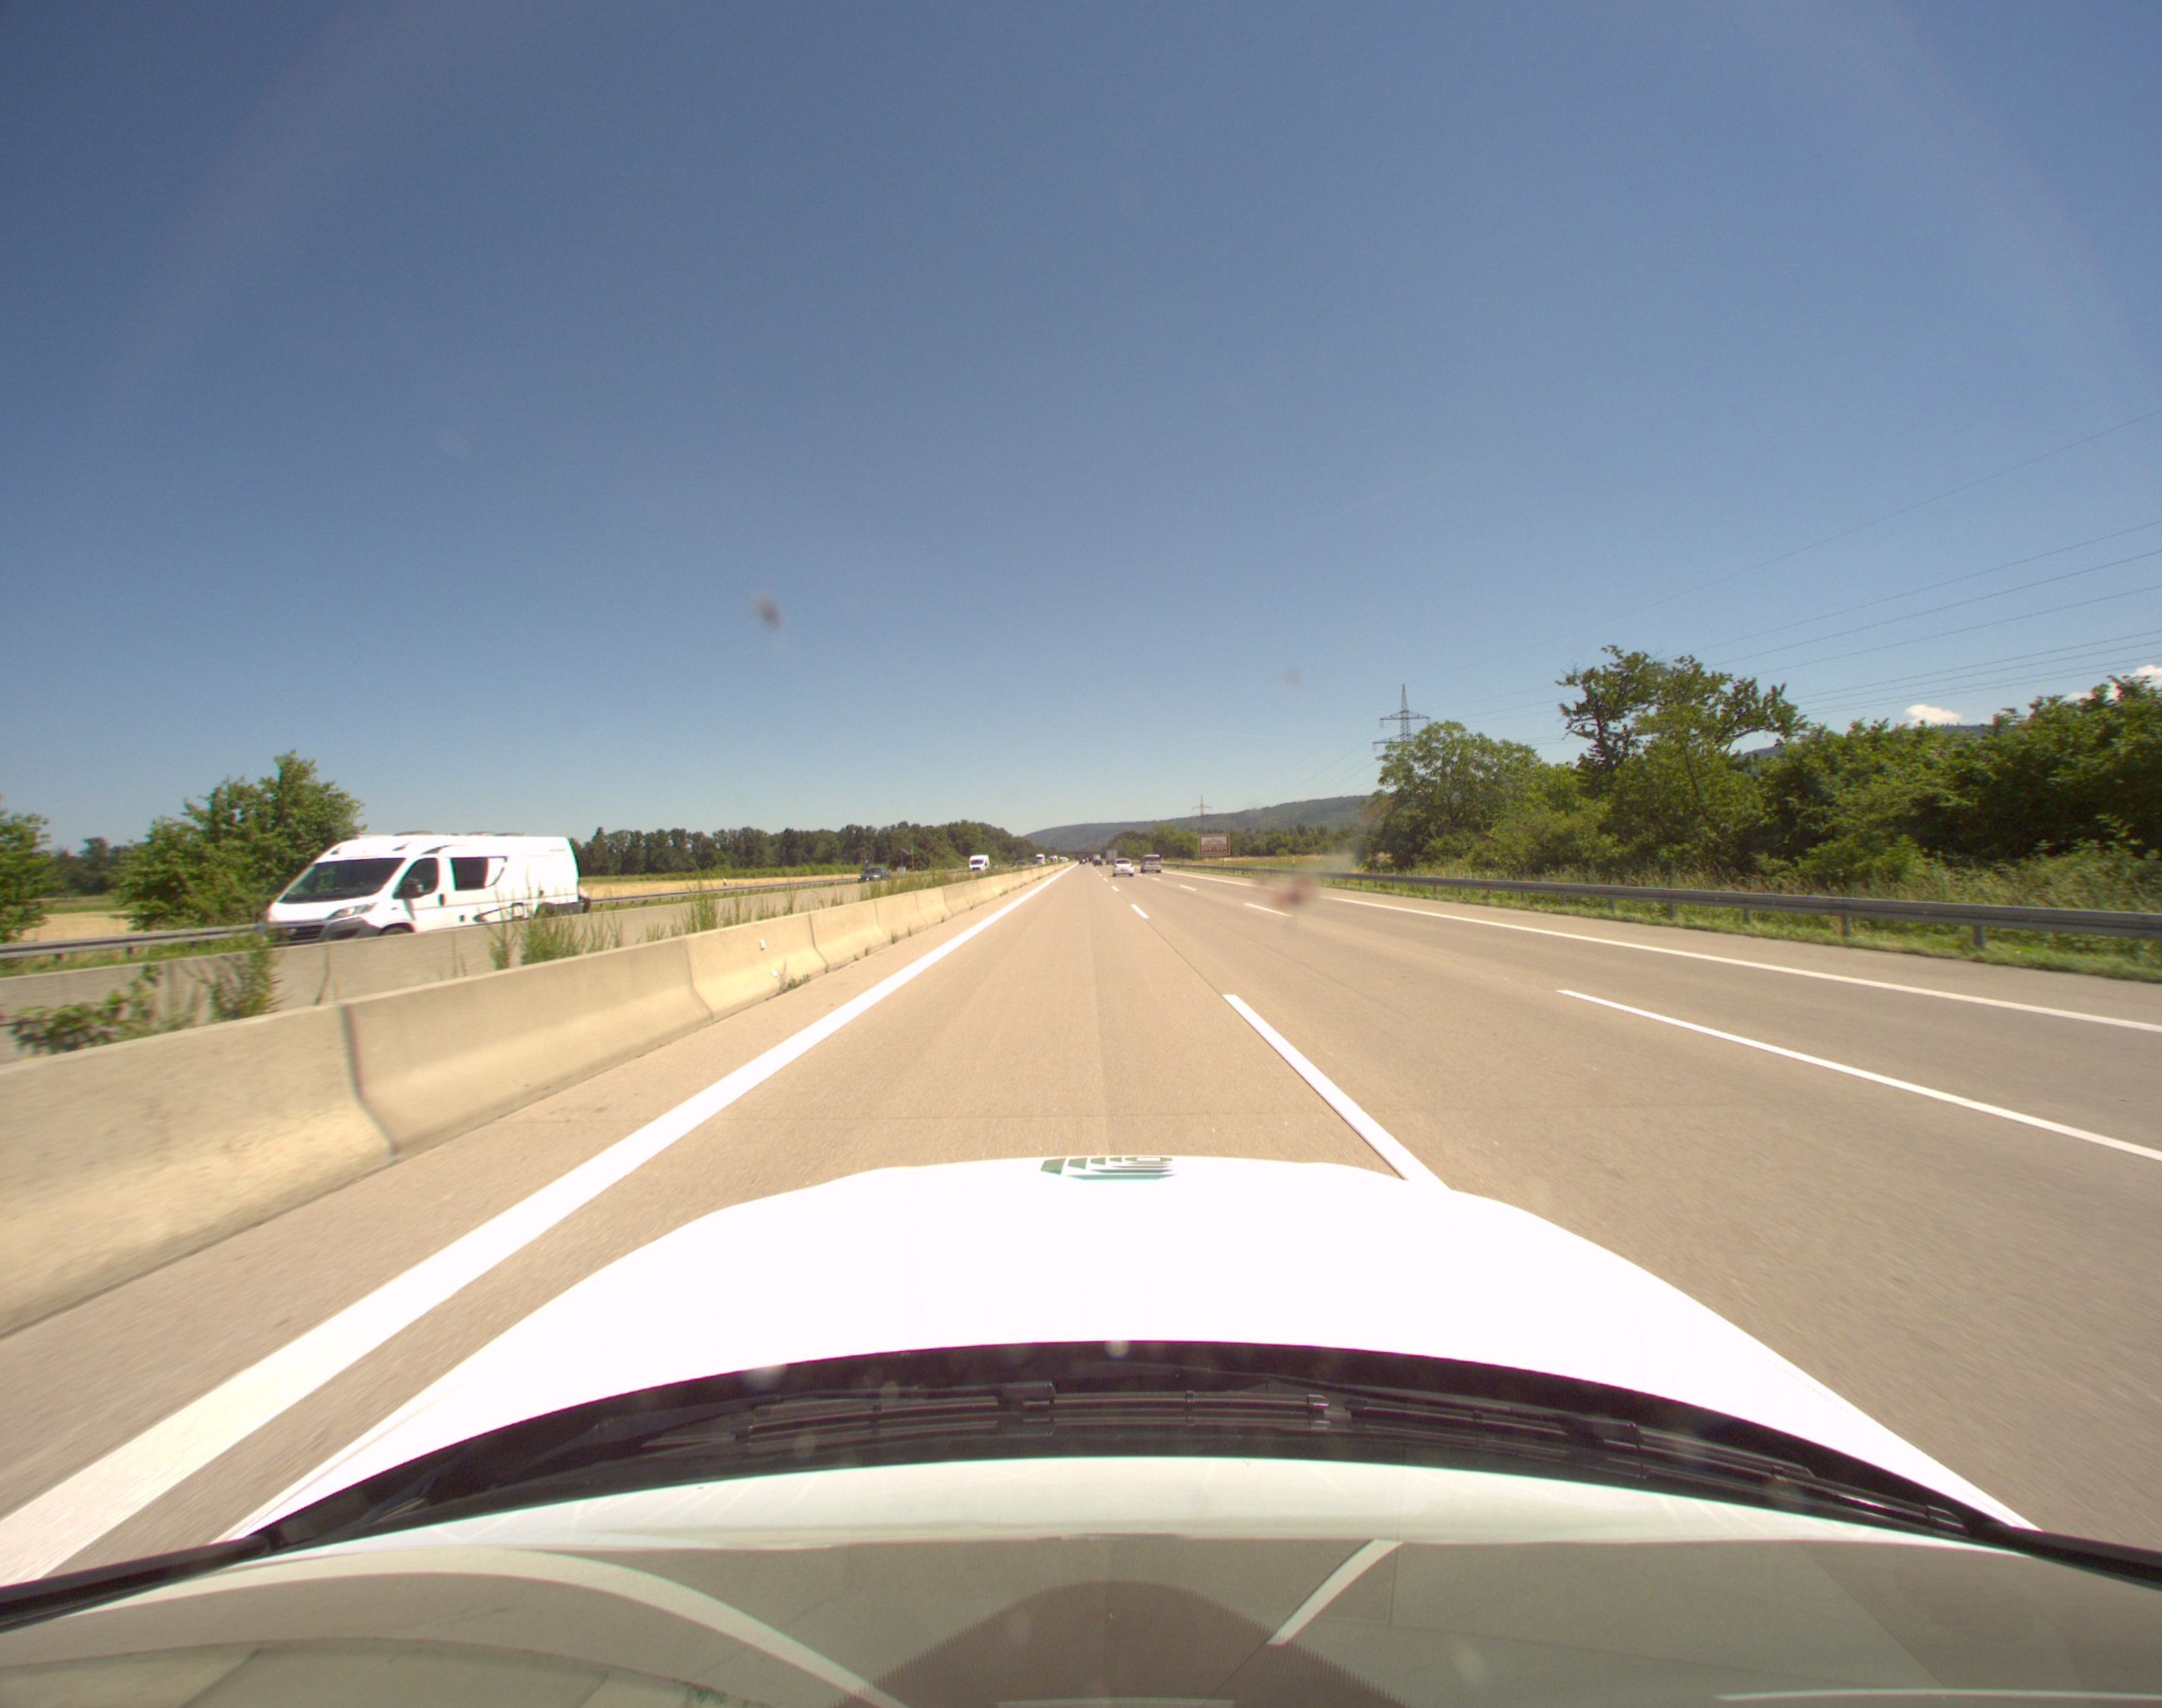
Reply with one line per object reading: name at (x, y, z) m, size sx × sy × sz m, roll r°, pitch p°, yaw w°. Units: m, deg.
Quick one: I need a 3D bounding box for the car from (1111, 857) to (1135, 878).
car at (3.575, 1.149, 70.251) m, size 1.814 × 1.662 × 3.999 m, roll -1°, pitch 0°, yaw 0°

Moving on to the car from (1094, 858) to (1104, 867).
car at (3.896, 1.855, 174.919) m, size 1.988 × 1.849 × 3.998 m, roll 2°, pitch 0°, yaw -1°

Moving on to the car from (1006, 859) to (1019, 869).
car at (-13.467, 1.992, 159.412) m, size 1.986 × 1.915 × 4.403 m, roll 0°, pitch 0°, yaw 2°

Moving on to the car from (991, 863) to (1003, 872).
car at (-16.539, 2.624, 160.317) m, size 1.989 × 1.783 × 3.995 m, roll 0°, pitch 0°, yaw -3°

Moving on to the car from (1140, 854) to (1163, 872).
car at (7.428, 0.953, 86.048) m, size 1.987 × 1.849 × 3.999 m, roll 0°, pitch 0°, yaw 0°

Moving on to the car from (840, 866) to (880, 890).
car at (-16.799, 1.788, 62.036) m, size 1.748 × 1.684 × 4.840 m, roll 0°, pitch 0°, yaw -1°

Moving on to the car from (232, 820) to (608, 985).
car at (-13.258, 0.823, 17.347) m, size 2.256 × 2.788 × 7.069 m, roll 0°, pitch 0°, yaw 0°

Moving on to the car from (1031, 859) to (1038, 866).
car at (-13.271, 2.416, 231.897) m, size 1.988 × 1.838 × 4.812 m, roll 0°, pitch 0°, yaw -2°

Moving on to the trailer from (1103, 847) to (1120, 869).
trailer at (8.128, 1.083, 219.501) m, size 3.710 × 5.811 × 12.154 m, roll 0°, pitch 0°, yaw -1°

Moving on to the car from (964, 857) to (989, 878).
car at (-12.894, 1.603, 100.994) m, size 2.205 × 2.520 × 6.123 m, roll 0°, pitch 0°, yaw 0°

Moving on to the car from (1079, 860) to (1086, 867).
car at (0.343, 2.722, 236.696) m, size 1.923 × 1.794 × 3.999 m, roll 0°, pitch 0°, yaw -1°
